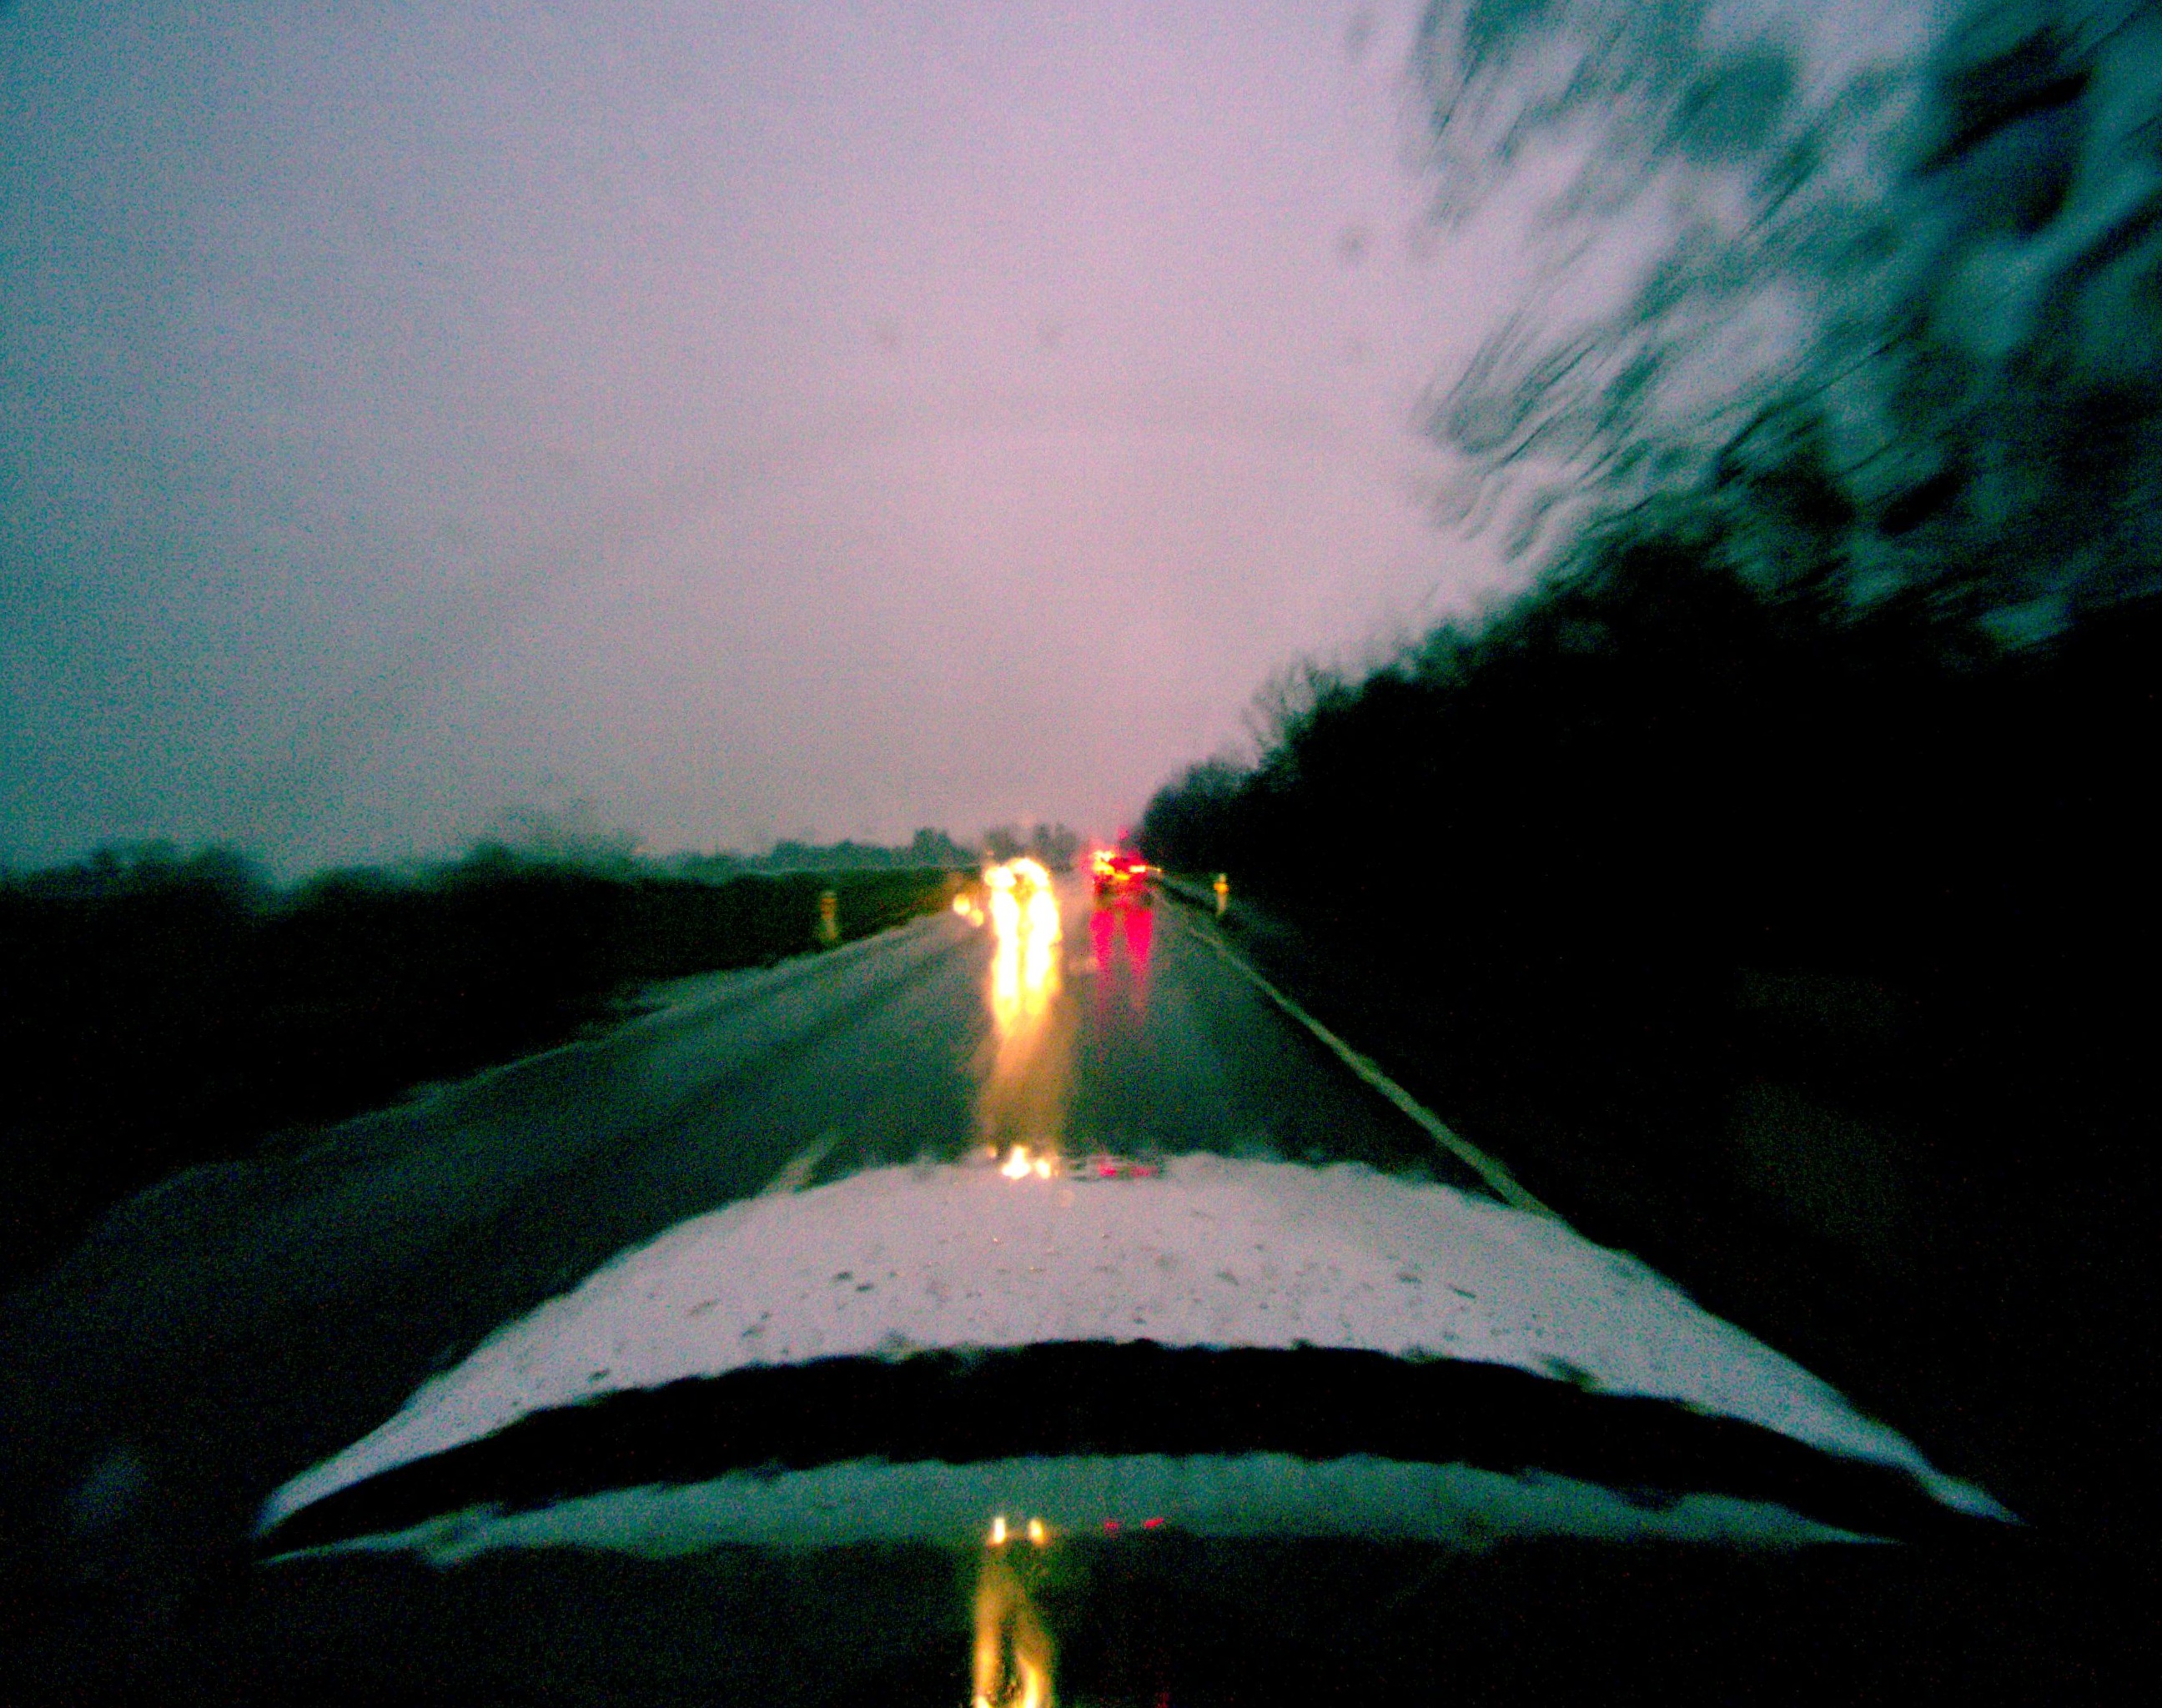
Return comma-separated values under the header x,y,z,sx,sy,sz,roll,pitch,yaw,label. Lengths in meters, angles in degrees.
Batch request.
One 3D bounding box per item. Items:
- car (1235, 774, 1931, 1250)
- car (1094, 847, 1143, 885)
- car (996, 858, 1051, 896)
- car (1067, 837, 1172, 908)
x,y,z,sx,sy,sz,roll,pitch,yaw,label
2.248,0.605,5.050,1.921,1.750,4.001,-1,0,2,car
2.289,0.672,49.968,2.745,2.035,6.594,-2,0,2,car
-2.634,1.019,38.052,1.986,1.463,4.353,-6,-1,2,car
1.326,0.566,28.534,3.152,2.035,6.855,-2,0,2,car
